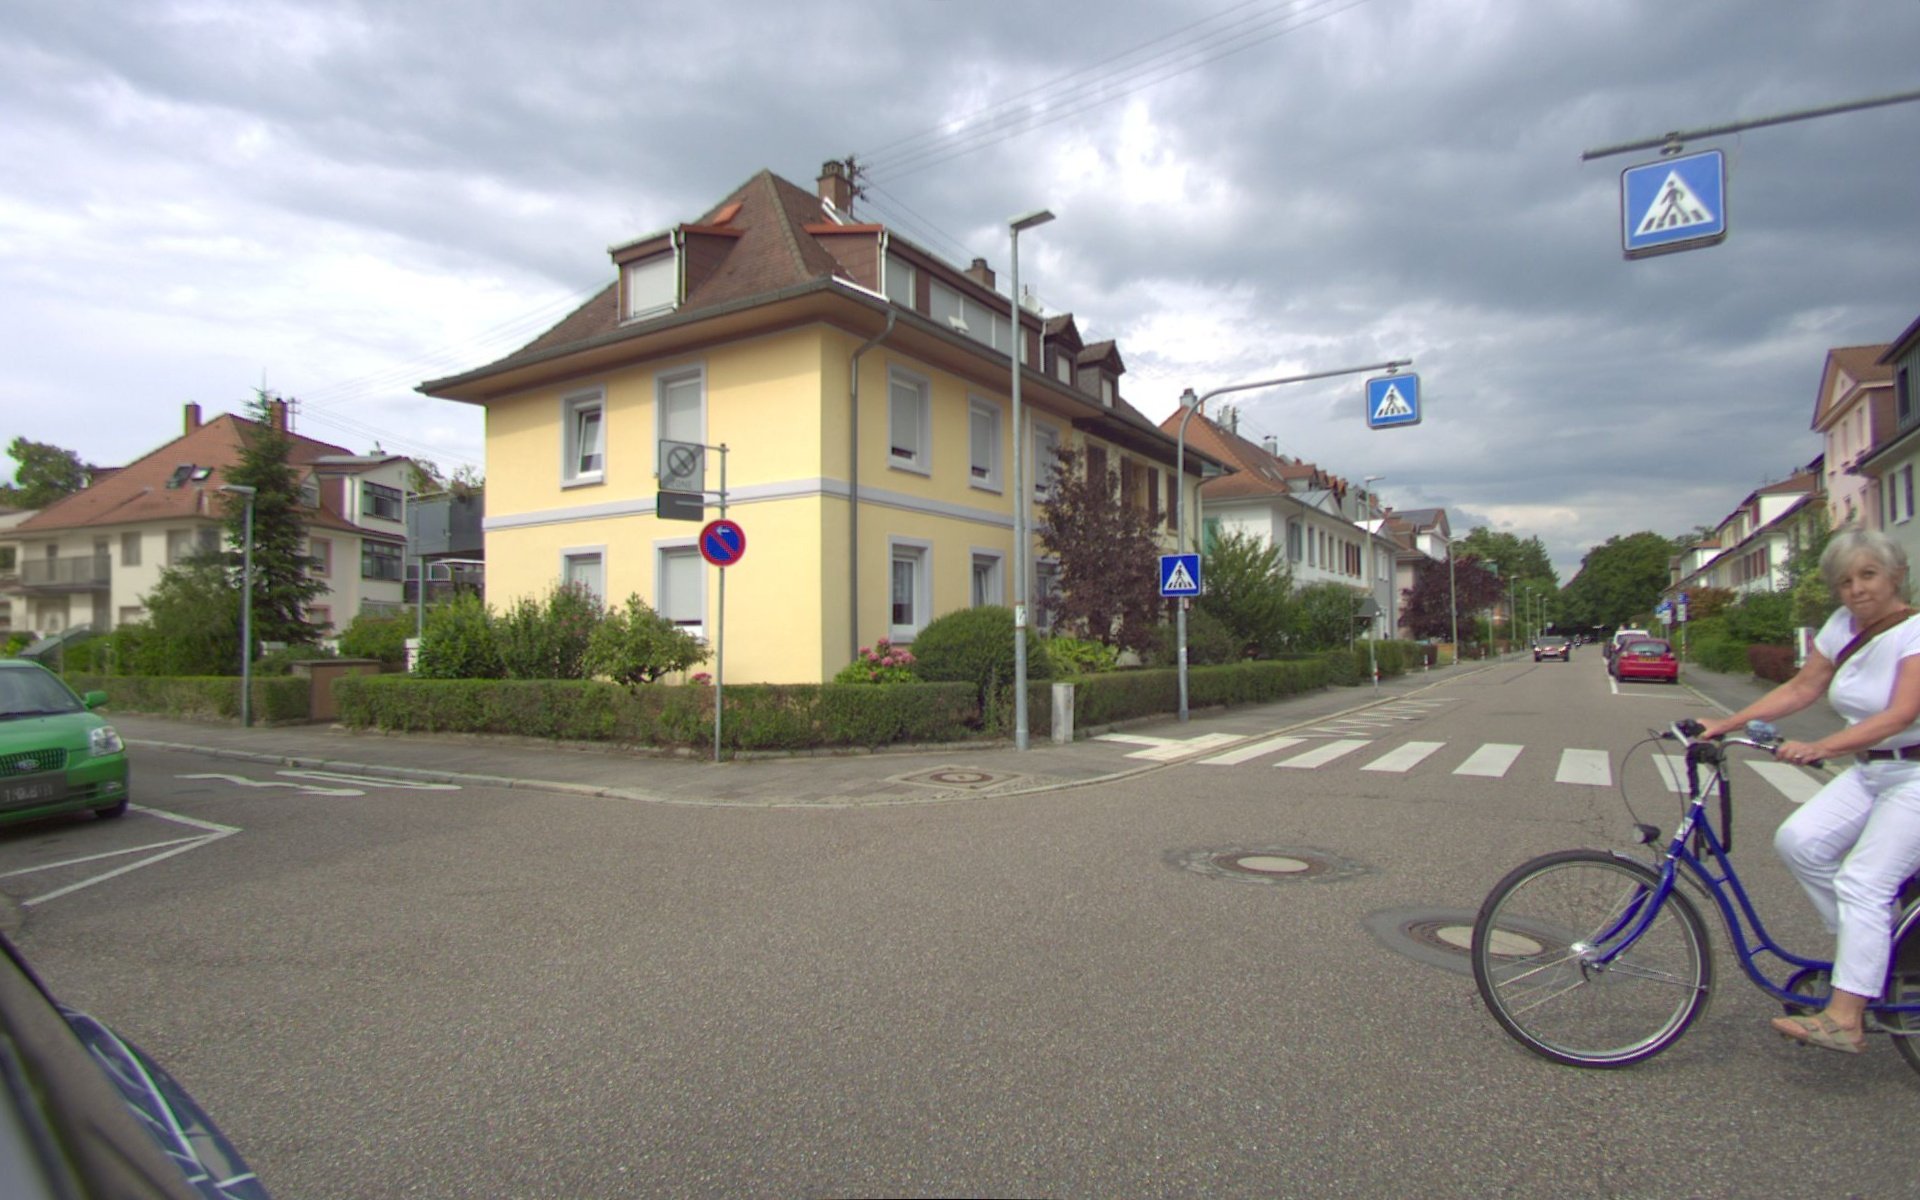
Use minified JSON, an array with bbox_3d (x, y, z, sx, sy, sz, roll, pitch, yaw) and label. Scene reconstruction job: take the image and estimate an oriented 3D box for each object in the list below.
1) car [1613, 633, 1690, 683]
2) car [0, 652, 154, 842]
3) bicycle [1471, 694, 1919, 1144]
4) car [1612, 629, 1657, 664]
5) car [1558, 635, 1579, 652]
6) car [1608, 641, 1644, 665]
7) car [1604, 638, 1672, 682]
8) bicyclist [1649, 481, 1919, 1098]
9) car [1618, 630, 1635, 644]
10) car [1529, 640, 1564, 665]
[{"bbox_3d":[23.685,1.965,34.790,1.994,1.586,3.956,-2,-3,32],"label":"car"},{"bbox_3d":[-8.977,1.251,9.103,3.470,1.432,1.633,-2,0,32],"label":"car"},{"bbox_3d":[2.693,0.900,3.095,1.856,1.161,0.704,-2,-2,16],"label":"bicycle"},{"bbox_3d":[38.745,2.680,58.231,1.994,1.918,3.956,-2,-3,32],"label":"car"},{"bbox_3d":[68.329,4.876,113.639,1.806,1.894,3.905,-2,-3,33],"label":"car"},{"bbox_3d":[47.080,3.728,71.598,1.994,1.586,3.956,-2,-3,32],"label":"car"},{"bbox_3d":[26.242,2.299,39.284,1.994,1.586,3.956,-2,-3,32],"label":"car"},{"bbox_3d":[2.825,0.516,3.069,0.966,1.679,0.695,-2,-2,15],"label":"bicyclist"},{"bbox_3d":[96.514,5.375,146.611,1.994,2.029,3.955,-1,-2,33],"label":"car"},{"bbox_3d":[37.518,3.340,64.720,1.830,1.497,3.957,0,-2,31],"label":"car"}]
